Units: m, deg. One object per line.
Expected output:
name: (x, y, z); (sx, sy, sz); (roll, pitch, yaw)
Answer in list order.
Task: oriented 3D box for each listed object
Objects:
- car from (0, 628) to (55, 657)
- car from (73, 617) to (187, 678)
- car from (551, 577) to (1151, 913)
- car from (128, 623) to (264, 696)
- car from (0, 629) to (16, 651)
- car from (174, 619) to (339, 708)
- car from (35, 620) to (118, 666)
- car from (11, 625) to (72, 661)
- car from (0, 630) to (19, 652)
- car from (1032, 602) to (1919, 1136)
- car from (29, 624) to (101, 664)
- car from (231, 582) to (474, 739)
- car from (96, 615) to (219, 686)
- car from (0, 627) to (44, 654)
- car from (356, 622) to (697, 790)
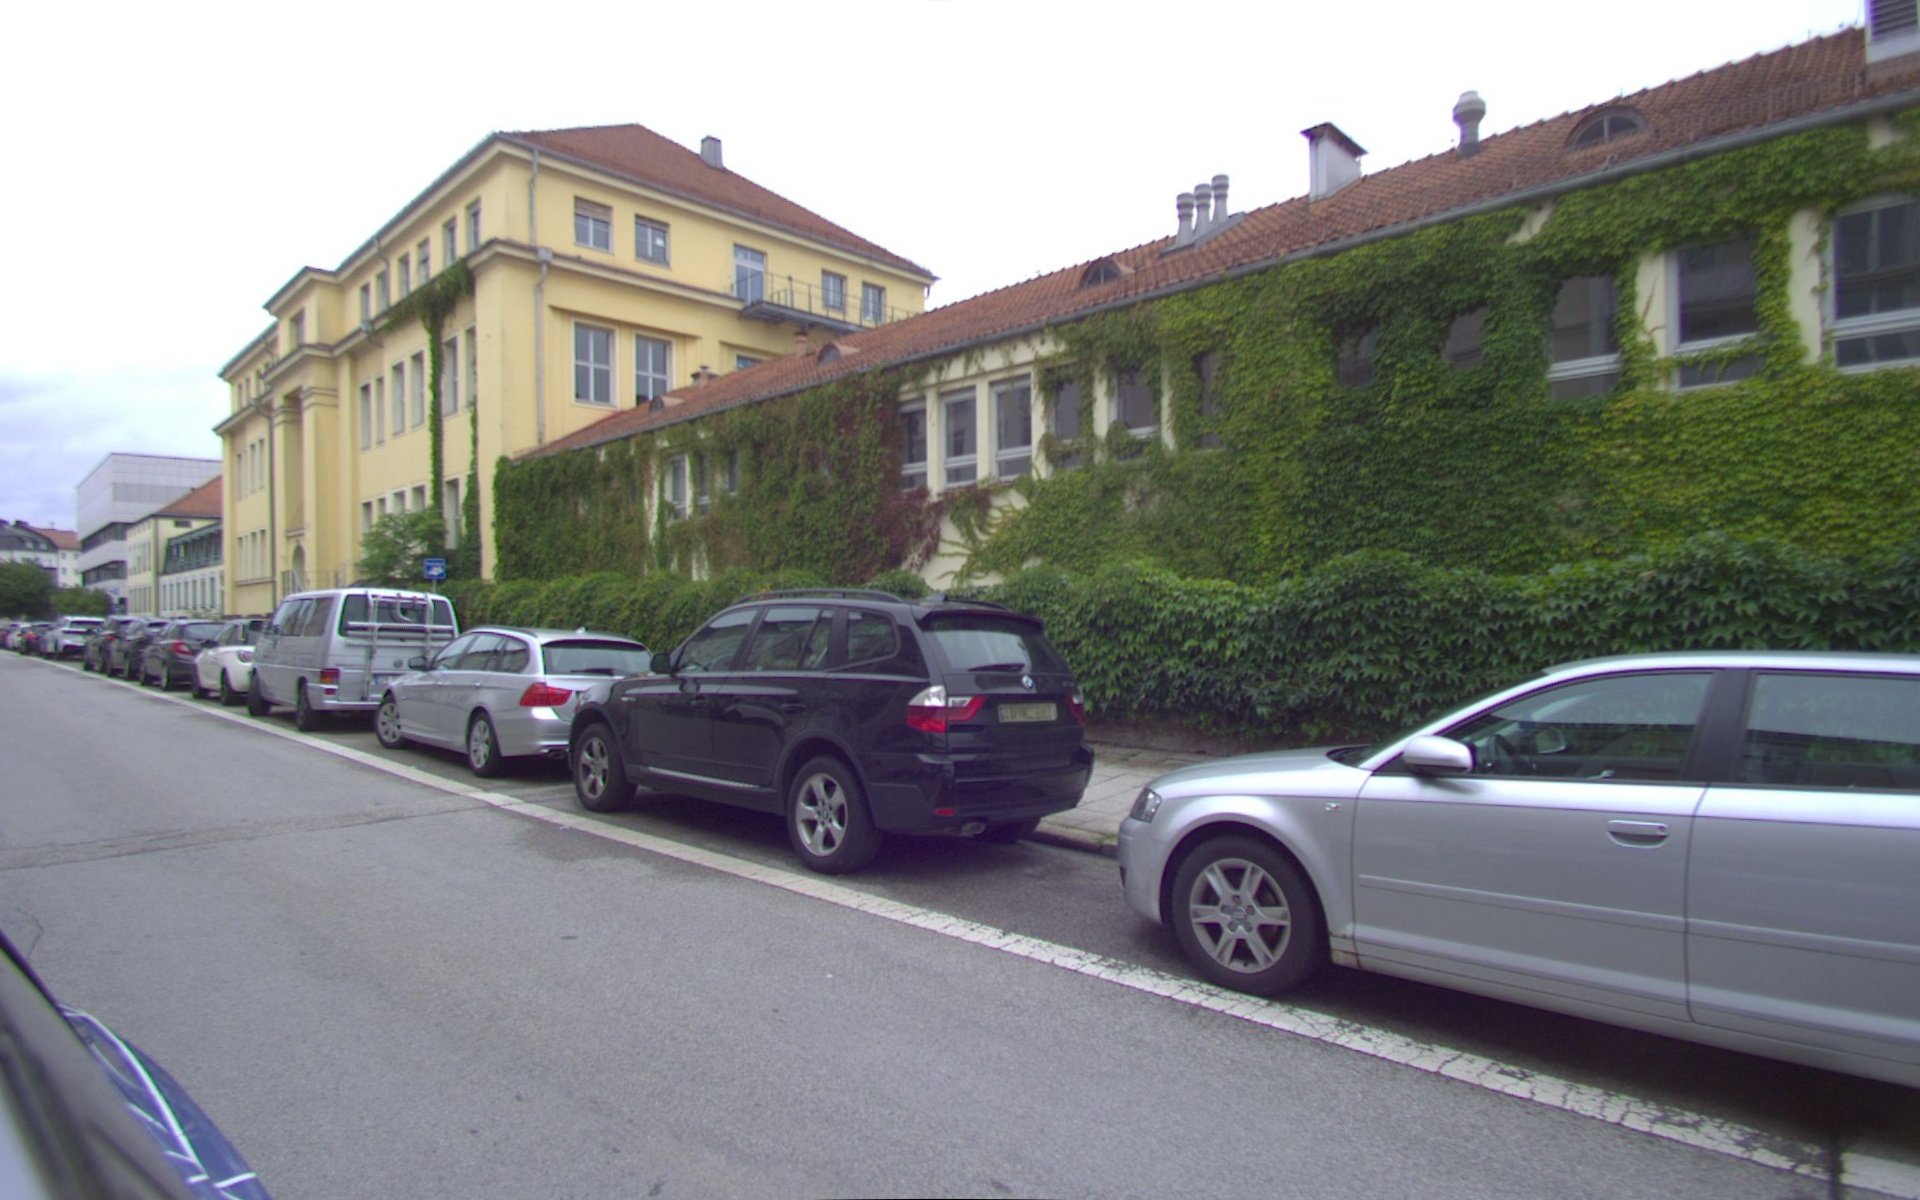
car: (-50.067, 2.268, 54.279); (4.664, 1.440, 1.774); (-1, -4, 42)
car: (-23.784, 1.321, 28.935); (4.817, 1.599, 1.770); (-1, -3, 42)
car: (-1.032, 0.780, 7.171); (4.490, 1.655, 1.678); (-1, -3, 43)
car: (-16.665, 1.243, 22.006); (4.251, 1.441, 1.586); (-1, -4, 43)
car: (-72.345, 2.992, 75.758); (4.350, 1.599, 1.893); (-3, -5, 41)
car: (-12.853, 1.089, 18.392); (4.018, 1.452, 1.574); (-1, -3, 42)
car: (-33.578, 1.593, 38.411); (4.854, 1.646, 1.727); (-1, -2, 41)
car: (-41.036, 1.922, 45.184); (4.150, 1.508, 1.680); (-1, -4, 44)
car: (-68.865, 2.924, 72.505); (4.533, 1.493, 1.892); (-2, -4, 44)
car: (2.563, 0.778, 3.813); (4.500, 1.404, 1.676); (-1, -5, 43)
car: (-37.102, 1.813, 41.908); (4.494, 1.514, 1.685); (-1, -6, 43)
car: (-8.911, 0.805, 14.651); (1.865, 1.904, 4.776); (4, -3, -45)
car: (-20.308, 1.233, 25.542); (4.465, 1.642, 1.705); (-1, -3, 42)
car: (-54.257, 2.317, 58.131); (4.527, 1.493, 1.937); (-1, -3, 42)
car: (-4.830, 0.978, 10.861); (4.772, 1.425, 1.634); (-1, -4, 44)
